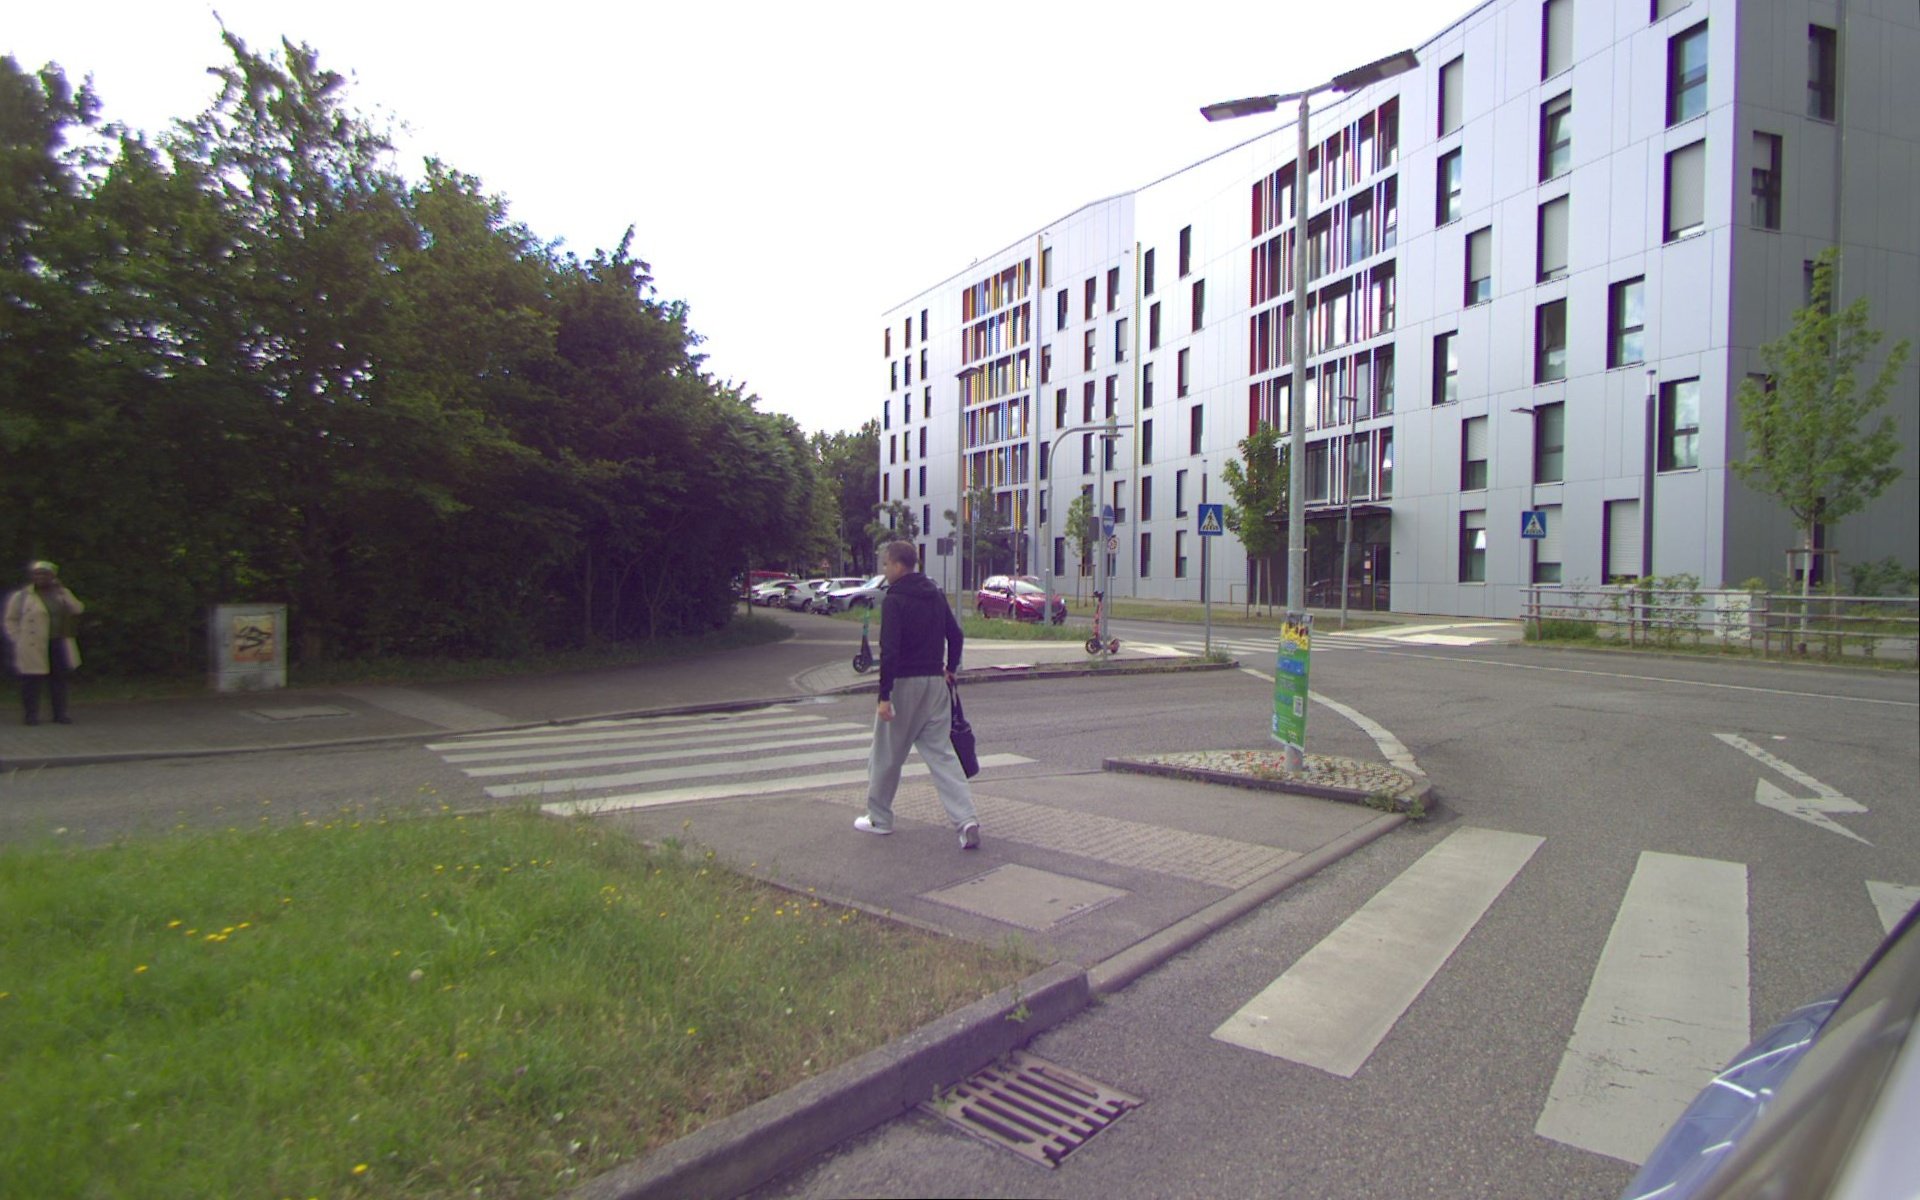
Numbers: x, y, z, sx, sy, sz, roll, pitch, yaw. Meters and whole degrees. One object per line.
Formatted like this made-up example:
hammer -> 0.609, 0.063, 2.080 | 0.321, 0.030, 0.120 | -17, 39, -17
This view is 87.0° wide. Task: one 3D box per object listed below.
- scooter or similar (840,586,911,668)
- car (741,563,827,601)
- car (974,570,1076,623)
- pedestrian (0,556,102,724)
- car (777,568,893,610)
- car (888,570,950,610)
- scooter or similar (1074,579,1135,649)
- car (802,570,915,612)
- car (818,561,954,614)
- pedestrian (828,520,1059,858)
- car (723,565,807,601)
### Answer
scooter or similar -> -1.447, 0.438, 17.528 | 0.614, 1.290, 1.485 | 0, 3, 22
car -> -9.437, -0.954, 54.152 | 4.205, 1.916, 1.841 | 1, 1, -23
car -> 2.177, -0.172, 35.158 | 1.894, 1.651, 4.252 | -2, 2, -21
pedestrian -> -9.190, 0.372, 10.243 | 0.758, 1.613, 0.686 | -1, 1, -41
car -> -5.202, -0.450, 42.191 | 4.398, 1.582, 1.915 | 1, 0, -23
car -> -1.929, -0.499, 46.437 | 1.780, 1.637, 4.010 | -2, 3, -19
scooter or similar -> 2.917, 0.252, 20.356 | 0.569, 1.329, 1.506 | 1, 2, 36
car -> -4.019, -0.361, 40.099 | 4.081, 1.606, 1.799 | 0, 1, -23
car -> -2.745, -0.439, 37.679 | 4.567, 1.774, 2.074 | 2, 0, -25
pedestrian -> -0.116, 0.445, 5.992 | 0.939, 1.768, 1.062 | -1, 1, -34
car -> -11.412, -1.009, 59.189 | 4.469, 1.923, 1.888 | 2, 0, -23
